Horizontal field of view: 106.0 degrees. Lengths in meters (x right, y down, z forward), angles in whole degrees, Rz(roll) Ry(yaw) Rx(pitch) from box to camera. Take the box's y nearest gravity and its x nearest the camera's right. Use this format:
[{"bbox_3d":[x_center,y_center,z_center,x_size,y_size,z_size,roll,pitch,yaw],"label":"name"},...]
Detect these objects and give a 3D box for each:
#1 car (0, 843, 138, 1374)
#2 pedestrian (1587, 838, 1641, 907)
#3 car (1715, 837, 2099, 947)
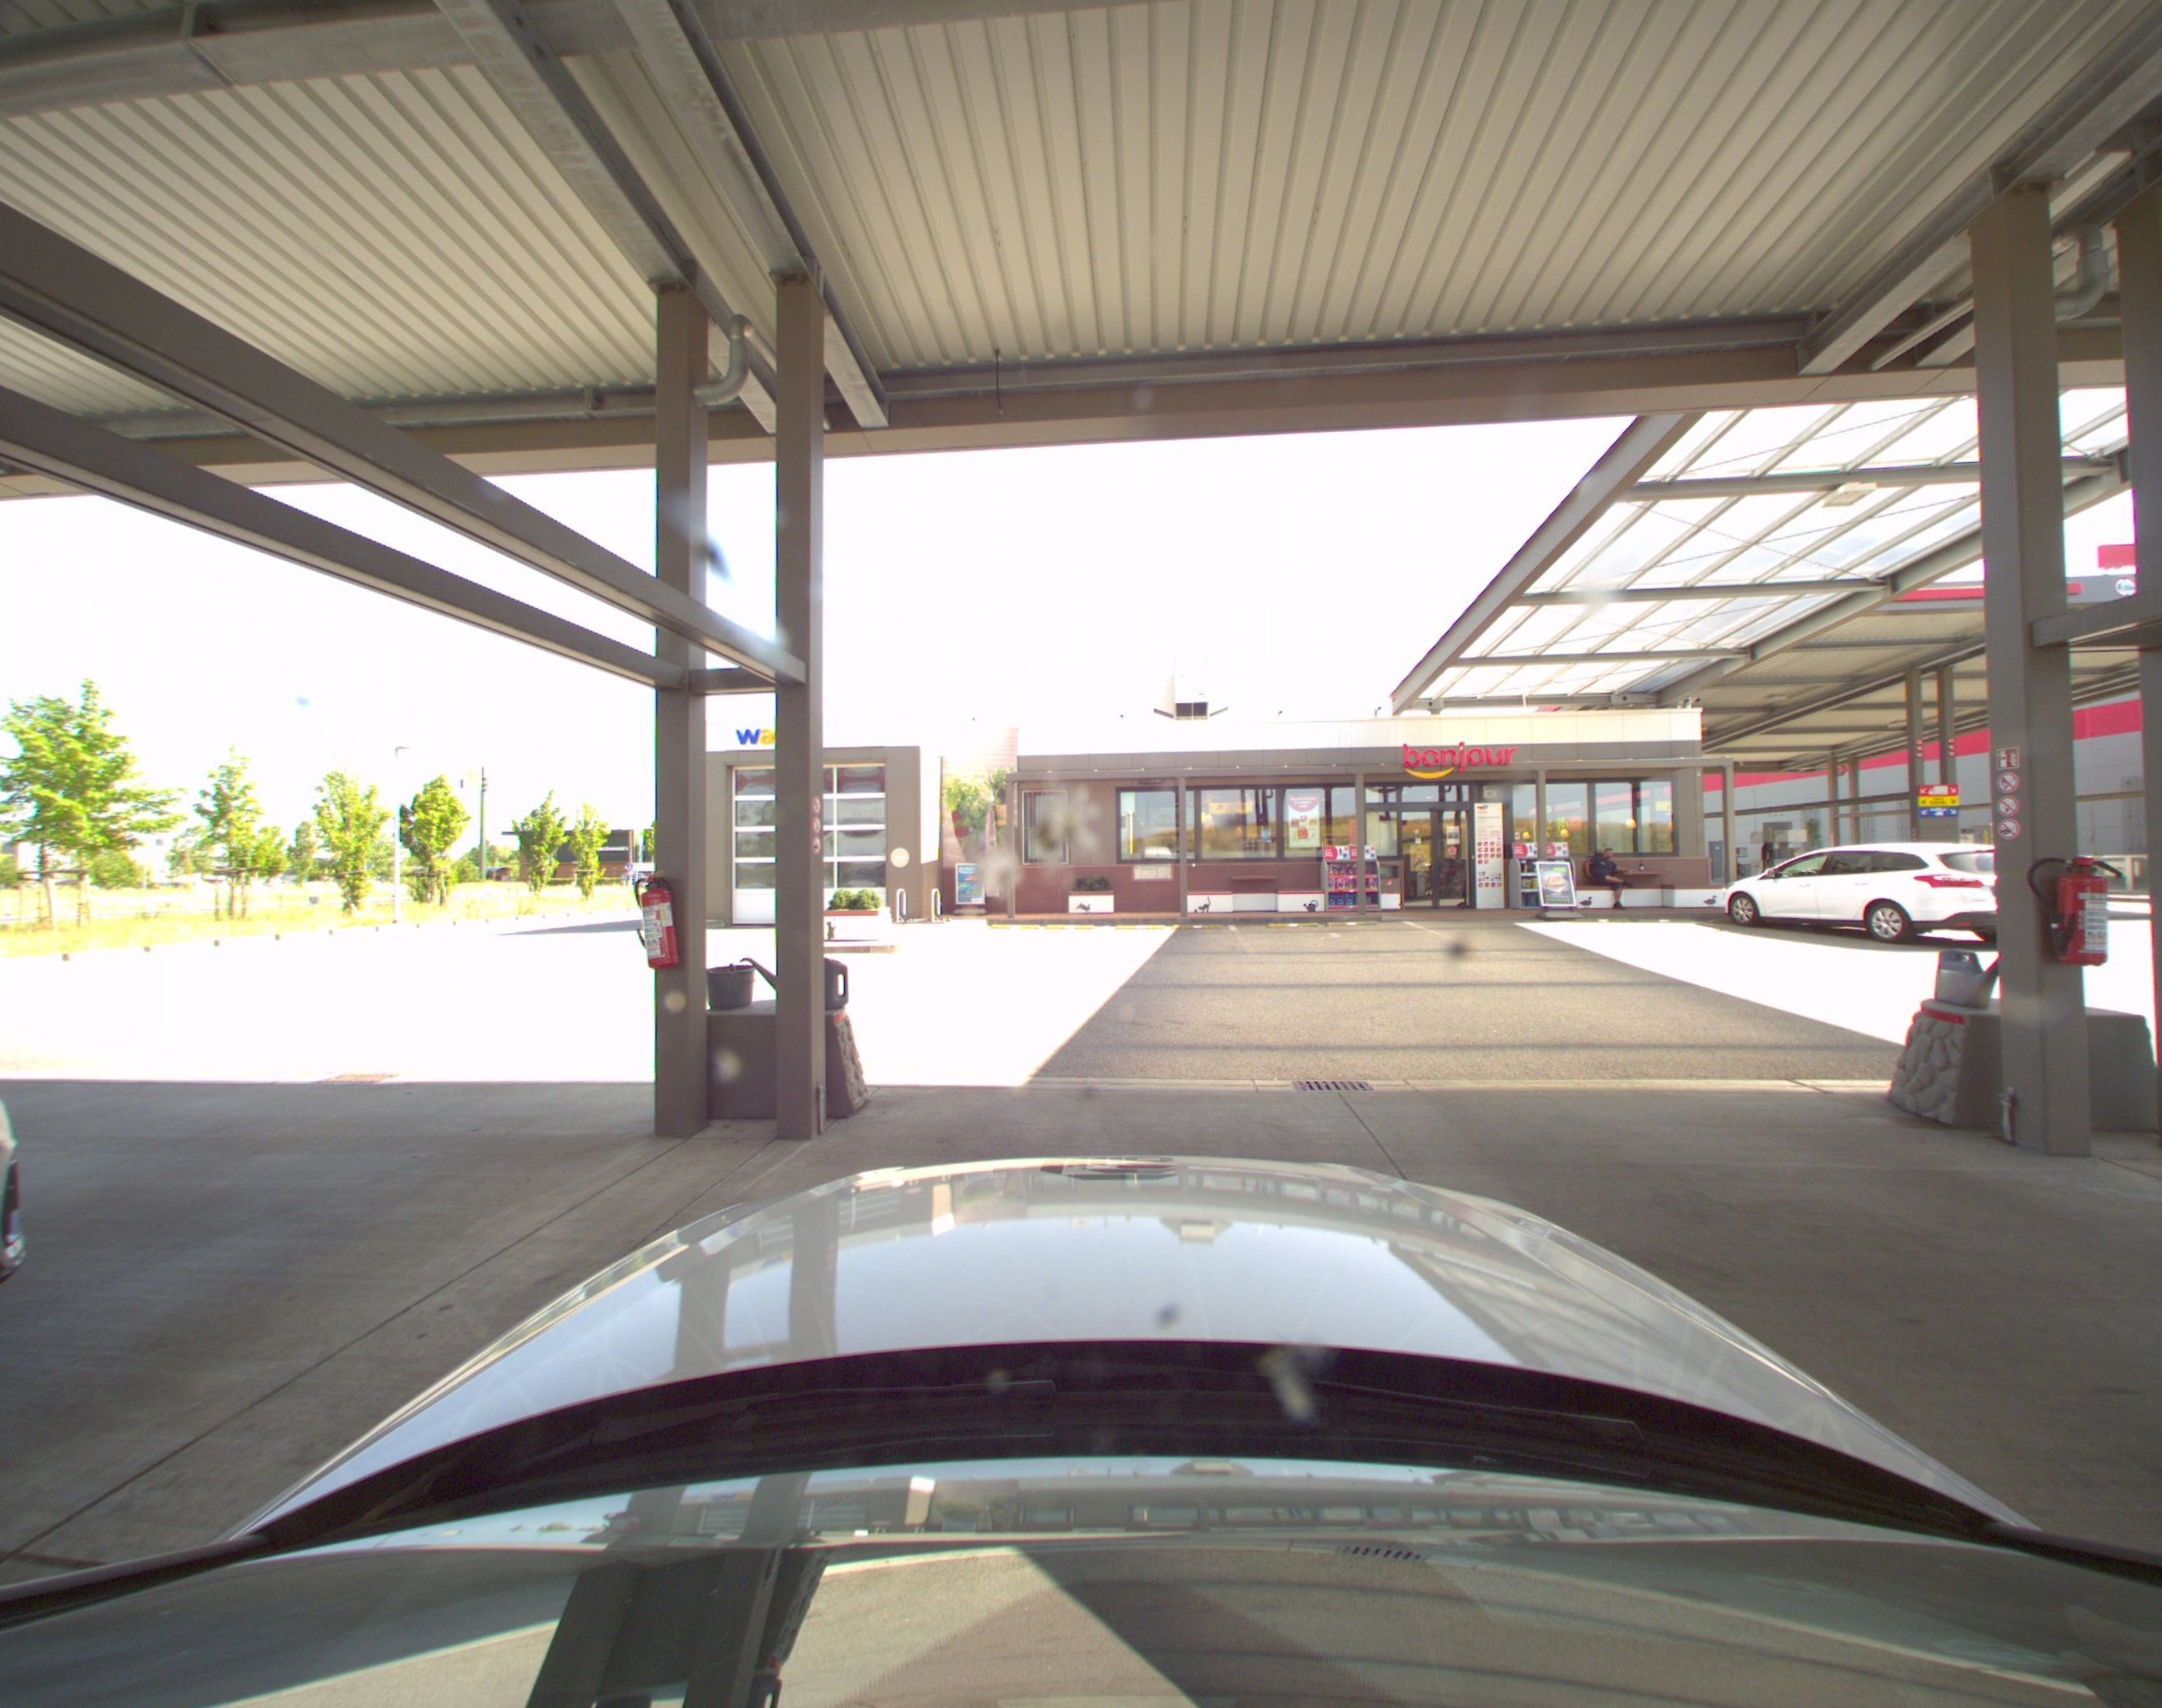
[{"bbox_3d":[-4.223,0.749,0.611,1.771,1.541,4.332,-1,0,6],"label":"car"},{"bbox_3d":[11.469,0.396,17.539,0.698,1.432,0.673,-1,-1,4],"label":"pedestrian"},{"bbox_3d":[12.885,0.523,13.206,1.824,1.457,4.319,-1,0,-1],"label":"car"}]
